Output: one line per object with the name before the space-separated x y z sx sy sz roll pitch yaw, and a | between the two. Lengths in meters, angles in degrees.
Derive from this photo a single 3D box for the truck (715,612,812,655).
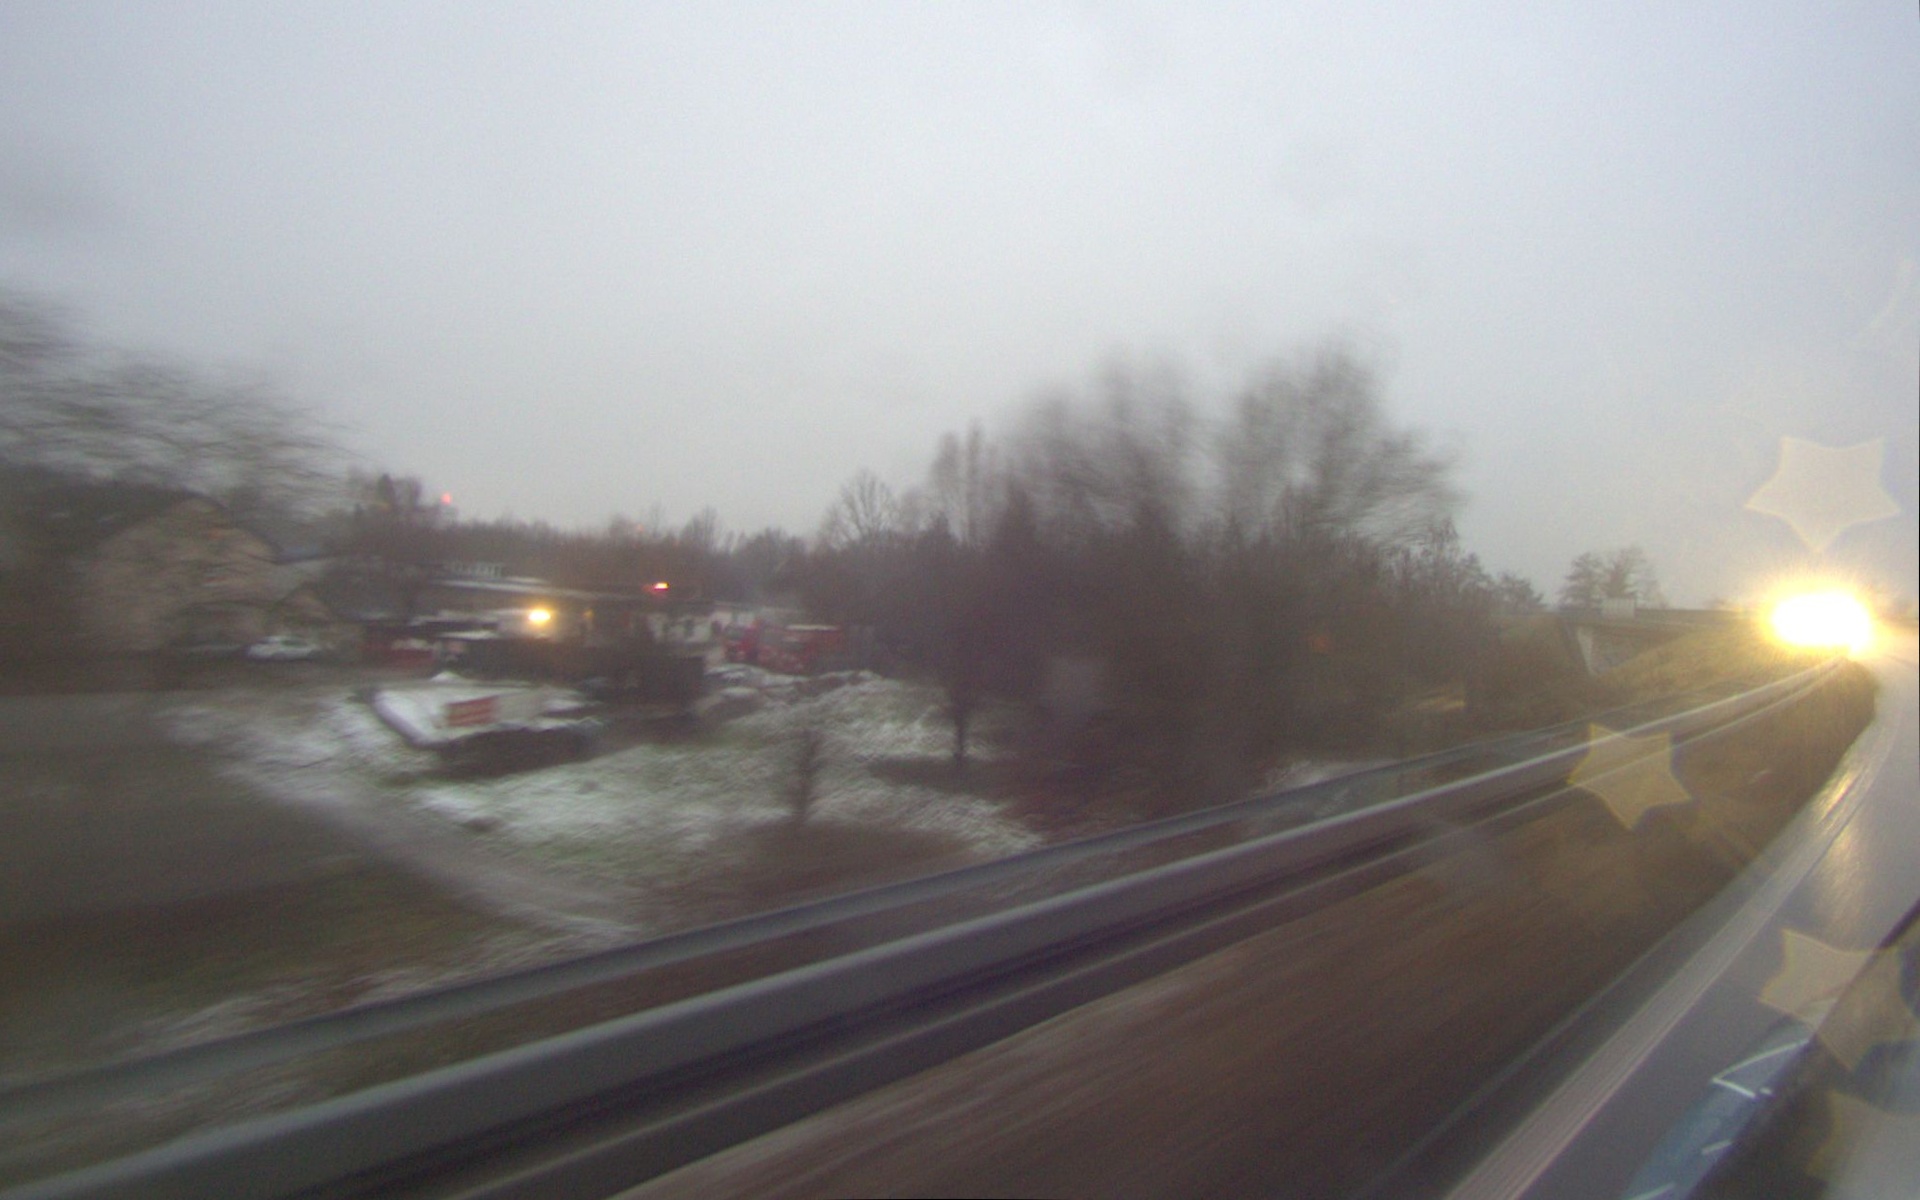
truck | -16.691 2.758 86.979 2.766 3.273 10.065 2 1 25

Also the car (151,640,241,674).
car | -46.325 3.417 61.457 1.975 1.749 3.974 1 1 20

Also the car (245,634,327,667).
car | -42.784 3.177 64.328 1.975 1.749 3.974 1 1 20

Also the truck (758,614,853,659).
truck | -12.780 2.962 84.818 2.766 3.273 10.066 1 1 25

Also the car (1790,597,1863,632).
car | 44.838 0.738 52.472 2.089 1.594 4.743 4 1 32
